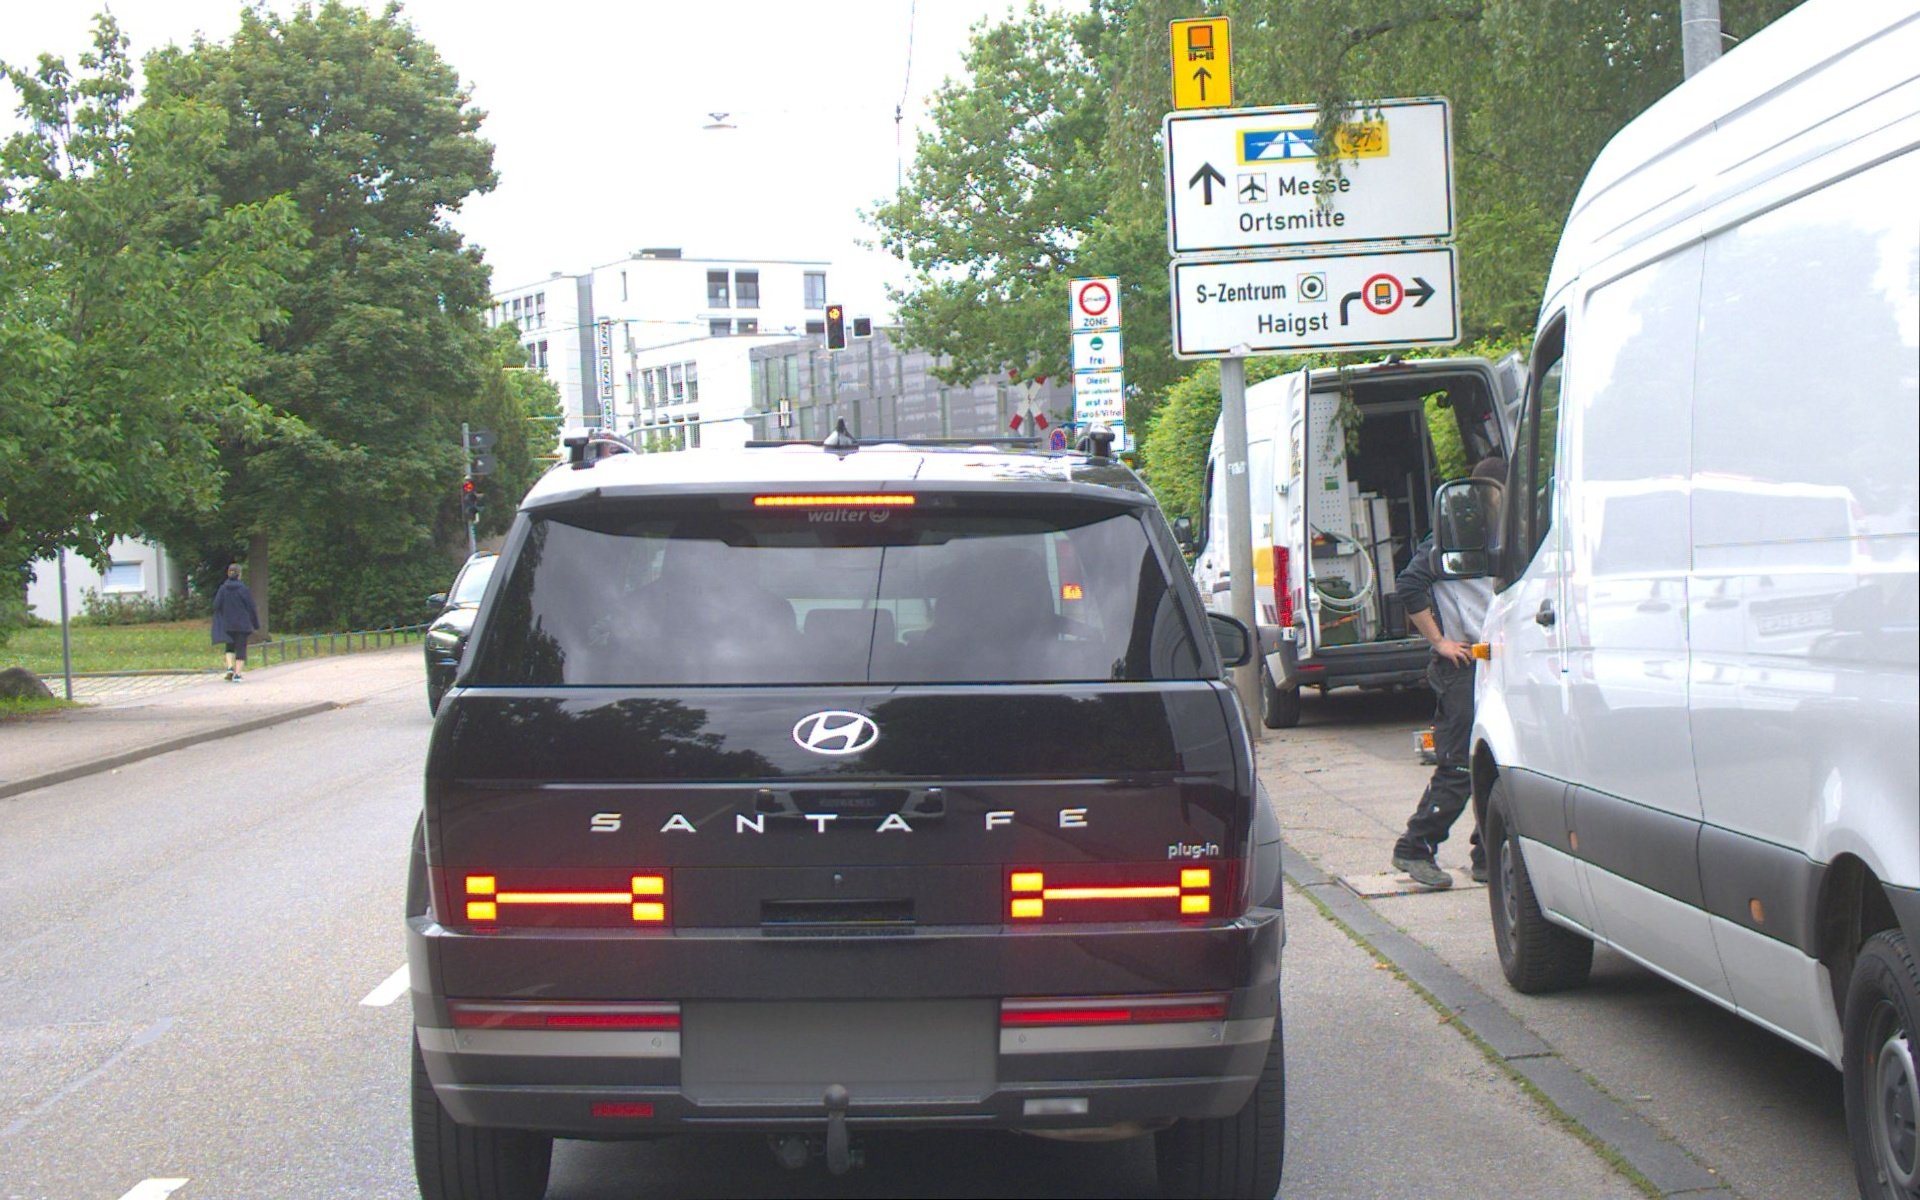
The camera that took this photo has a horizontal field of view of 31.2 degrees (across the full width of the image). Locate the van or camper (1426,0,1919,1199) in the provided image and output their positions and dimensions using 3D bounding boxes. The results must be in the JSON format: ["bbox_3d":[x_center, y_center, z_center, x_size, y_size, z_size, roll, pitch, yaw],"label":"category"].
[{"bbox_3d":[2.621,-0.083,8.141,1.993,2.611,6.541,-2,1,-1],"label":"van or camper"}]

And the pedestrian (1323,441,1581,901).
[{"bbox_3d":[1.983,0.273,13.945,0.870,1.791,0.760,-2,1,-1],"label":"pedestrian"}]

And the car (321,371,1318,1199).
[{"bbox_3d":[-0.288,0.440,8.553,1.889,1.813,4.000,0,1,-1],"label":"car"}]

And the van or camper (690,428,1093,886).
[{"bbox_3d":[-0.330,0.224,17.496,1.754,2.007,4.000,-2,1,-1],"label":"van or camper"}]

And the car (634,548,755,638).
[{"bbox_3d":[-4.845,-0.158,63.280,1.859,1.448,4.111,-4,1,-1],"label":"car"}]

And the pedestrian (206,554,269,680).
[{"bbox_3d":[-10.021,0.225,47.714,0.738,1.709,0.793,-2,1,-7],"label":"pedestrian"}]

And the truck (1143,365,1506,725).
[{"bbox_3d":[2.839,-0.431,28.025,1.942,2.553,5.217,-4,1,-4],"label":"truck"}]

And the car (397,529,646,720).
[{"bbox_3d":[-4.282,0.192,34.188,1.859,1.651,4.306,-4,1,-1],"label":"car"}]
